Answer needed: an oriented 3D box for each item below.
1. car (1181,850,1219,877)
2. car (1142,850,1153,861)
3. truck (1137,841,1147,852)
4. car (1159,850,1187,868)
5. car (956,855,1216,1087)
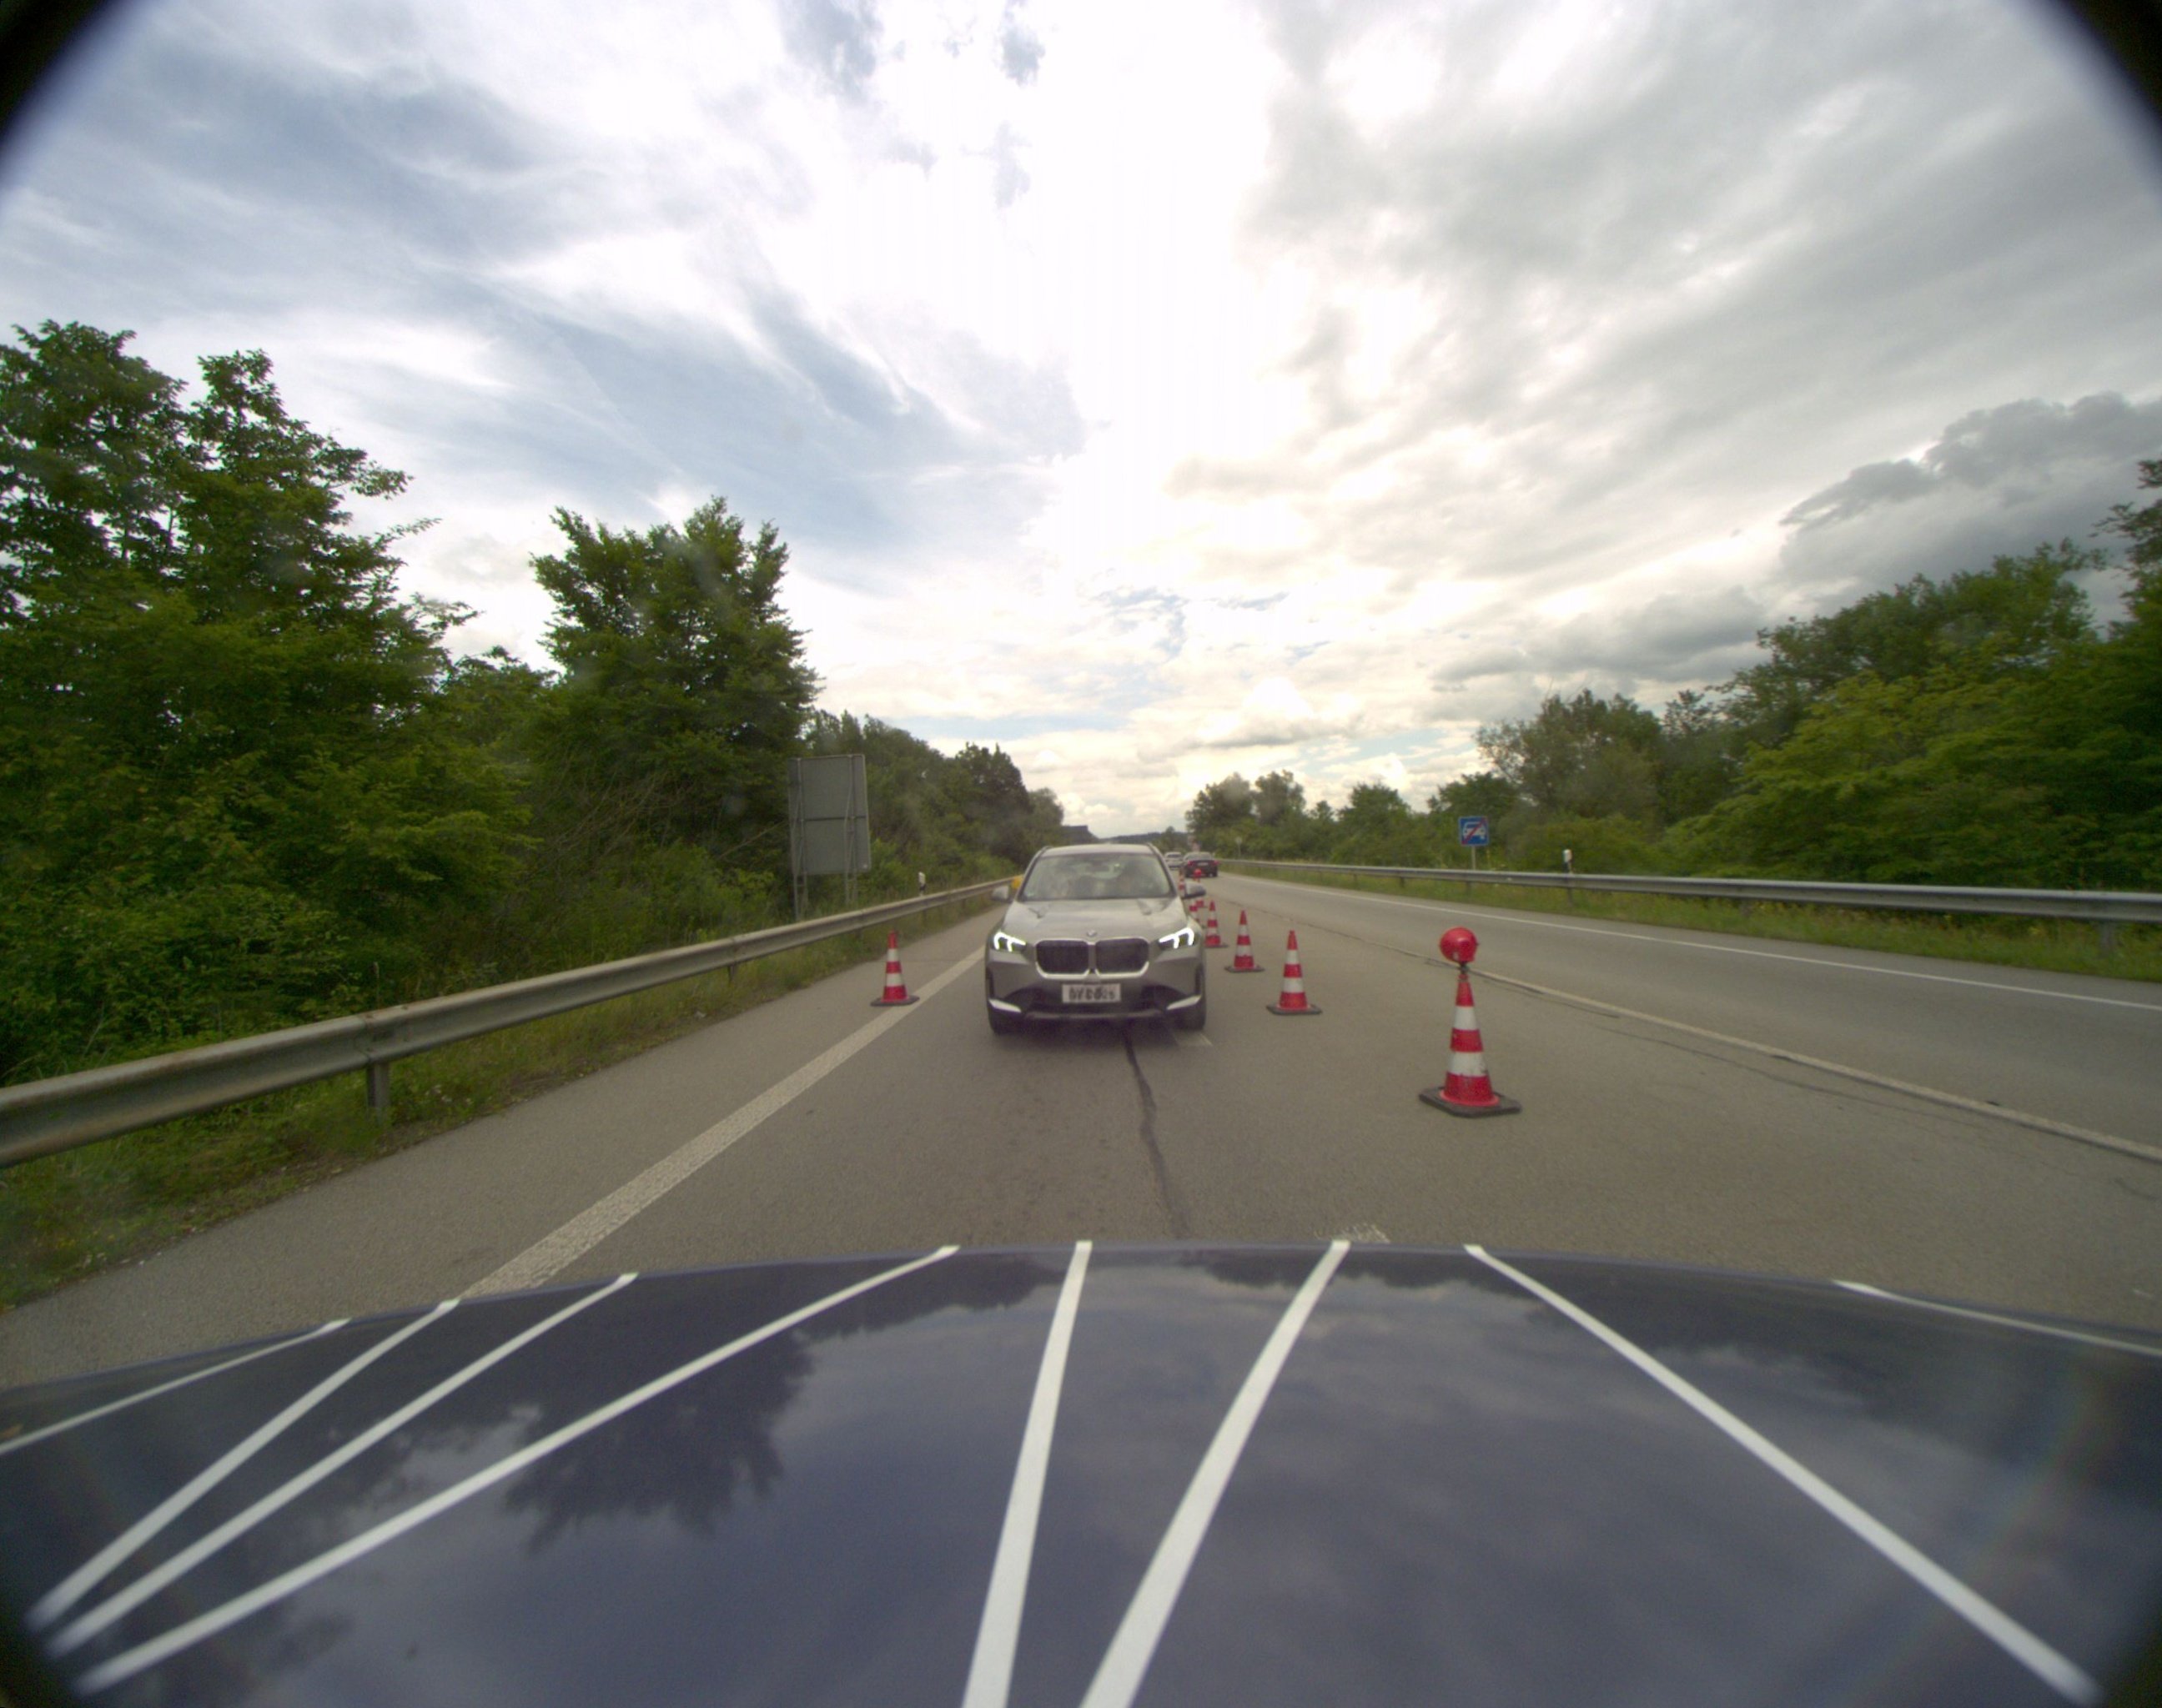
[{"bbox_3d":[6.844,0.510,44.029,1.712,1.428,4.337,-2,0,4],"label":"car"},{"bbox_3d":[13.234,0.326,151.420,2.034,1.976,5.316,-2,0,3],"label":"car"},{"bbox_3d":[21.395,-2.679,265.166,3.113,3.682,9.545,-2,0,3],"label":"truck"},{"bbox_3d":[7.651,0.377,63.340,1.683,1.393,4.373,-2,0,-1],"label":"car"},{"bbox_3d":[0.157,0.853,7.679,1.817,1.598,4.434,-2,0,3],"label":"car"}]
